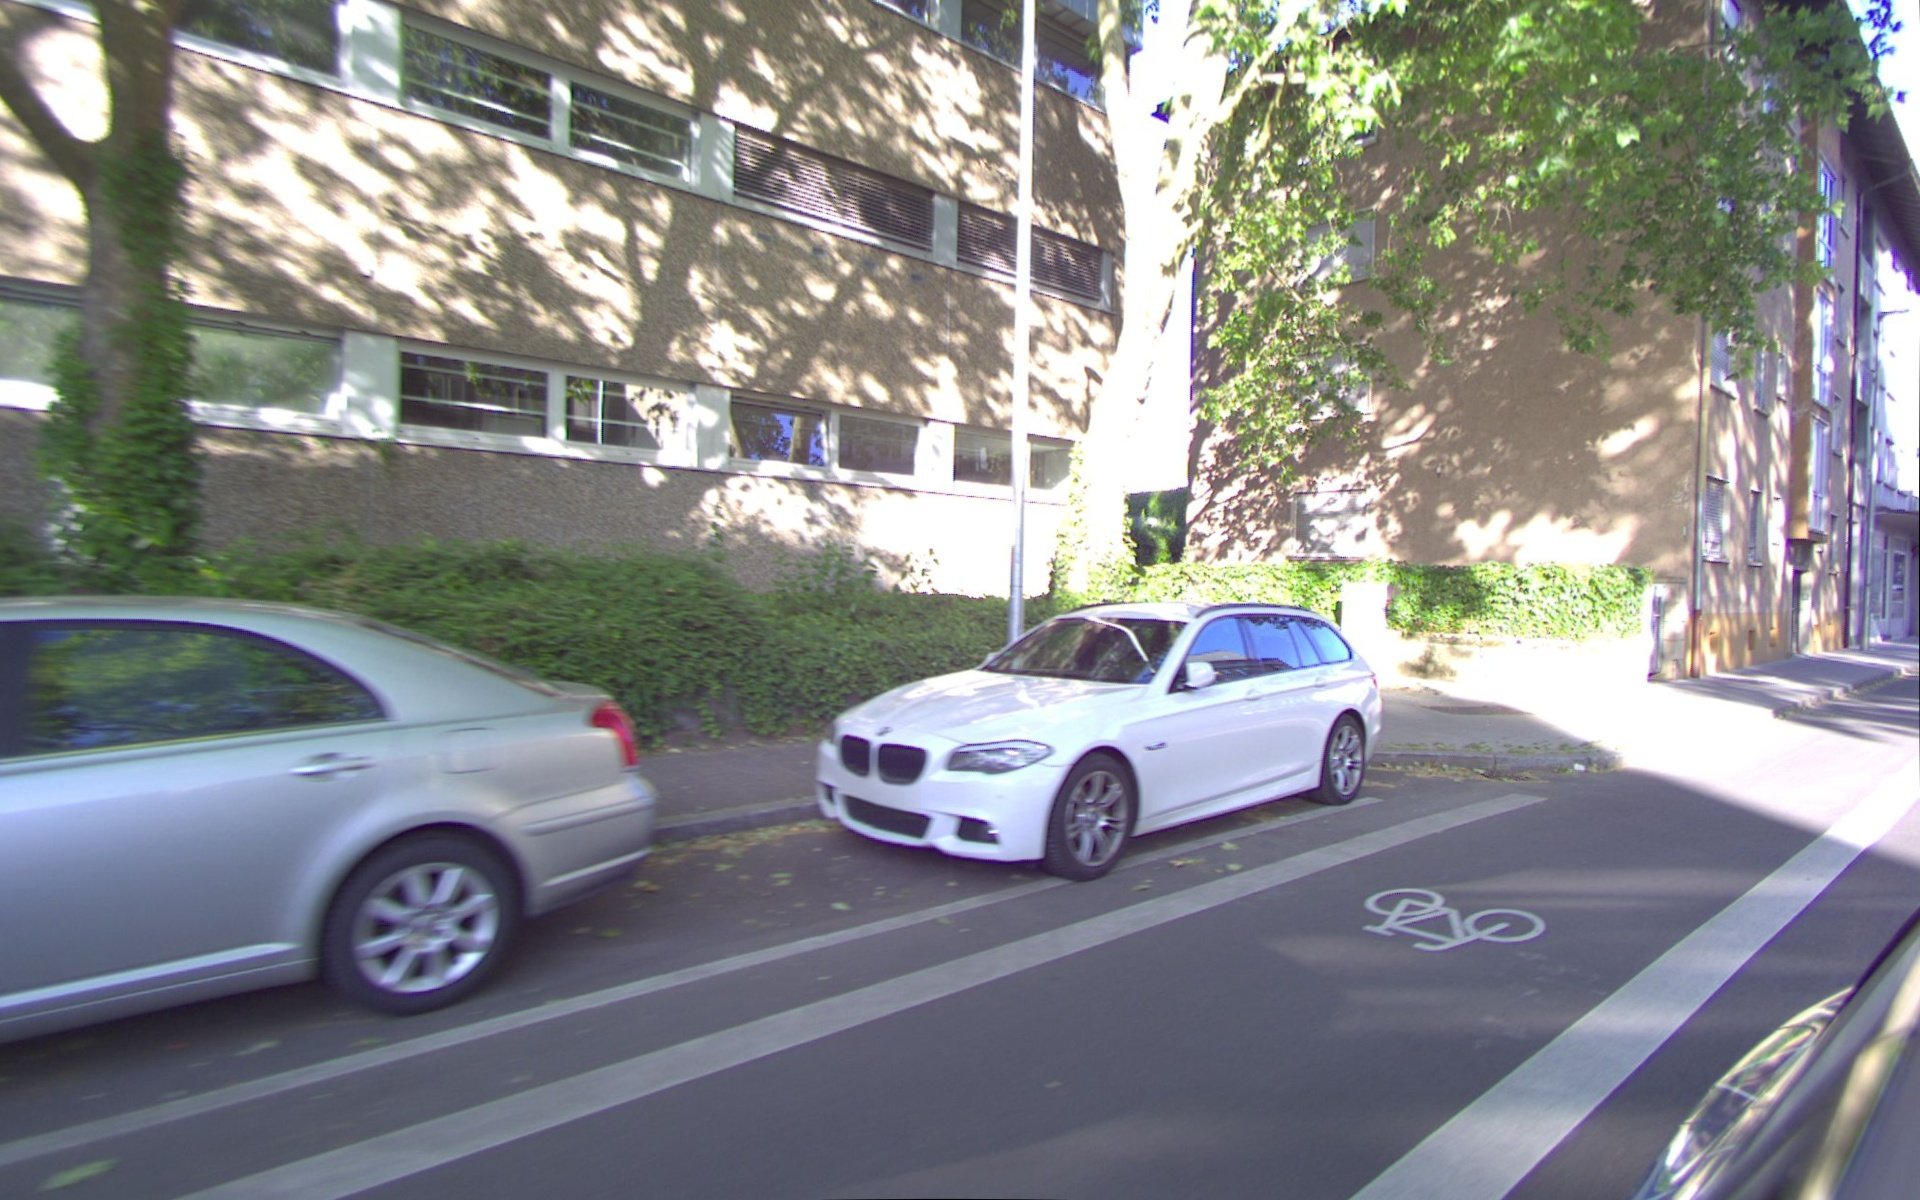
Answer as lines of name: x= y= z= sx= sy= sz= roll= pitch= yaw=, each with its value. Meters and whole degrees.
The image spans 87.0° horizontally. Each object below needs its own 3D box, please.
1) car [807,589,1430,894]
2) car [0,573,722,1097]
car: x=1.453 y=0.674 z=7.268 sx=4.888 sy=1.454 sz=1.857 roll=0 pitch=1 yaw=-44
car: x=-3.307 y=0.641 z=3.477 sx=4.523 sy=1.455 sz=1.858 roll=0 pitch=0 yaw=-42
